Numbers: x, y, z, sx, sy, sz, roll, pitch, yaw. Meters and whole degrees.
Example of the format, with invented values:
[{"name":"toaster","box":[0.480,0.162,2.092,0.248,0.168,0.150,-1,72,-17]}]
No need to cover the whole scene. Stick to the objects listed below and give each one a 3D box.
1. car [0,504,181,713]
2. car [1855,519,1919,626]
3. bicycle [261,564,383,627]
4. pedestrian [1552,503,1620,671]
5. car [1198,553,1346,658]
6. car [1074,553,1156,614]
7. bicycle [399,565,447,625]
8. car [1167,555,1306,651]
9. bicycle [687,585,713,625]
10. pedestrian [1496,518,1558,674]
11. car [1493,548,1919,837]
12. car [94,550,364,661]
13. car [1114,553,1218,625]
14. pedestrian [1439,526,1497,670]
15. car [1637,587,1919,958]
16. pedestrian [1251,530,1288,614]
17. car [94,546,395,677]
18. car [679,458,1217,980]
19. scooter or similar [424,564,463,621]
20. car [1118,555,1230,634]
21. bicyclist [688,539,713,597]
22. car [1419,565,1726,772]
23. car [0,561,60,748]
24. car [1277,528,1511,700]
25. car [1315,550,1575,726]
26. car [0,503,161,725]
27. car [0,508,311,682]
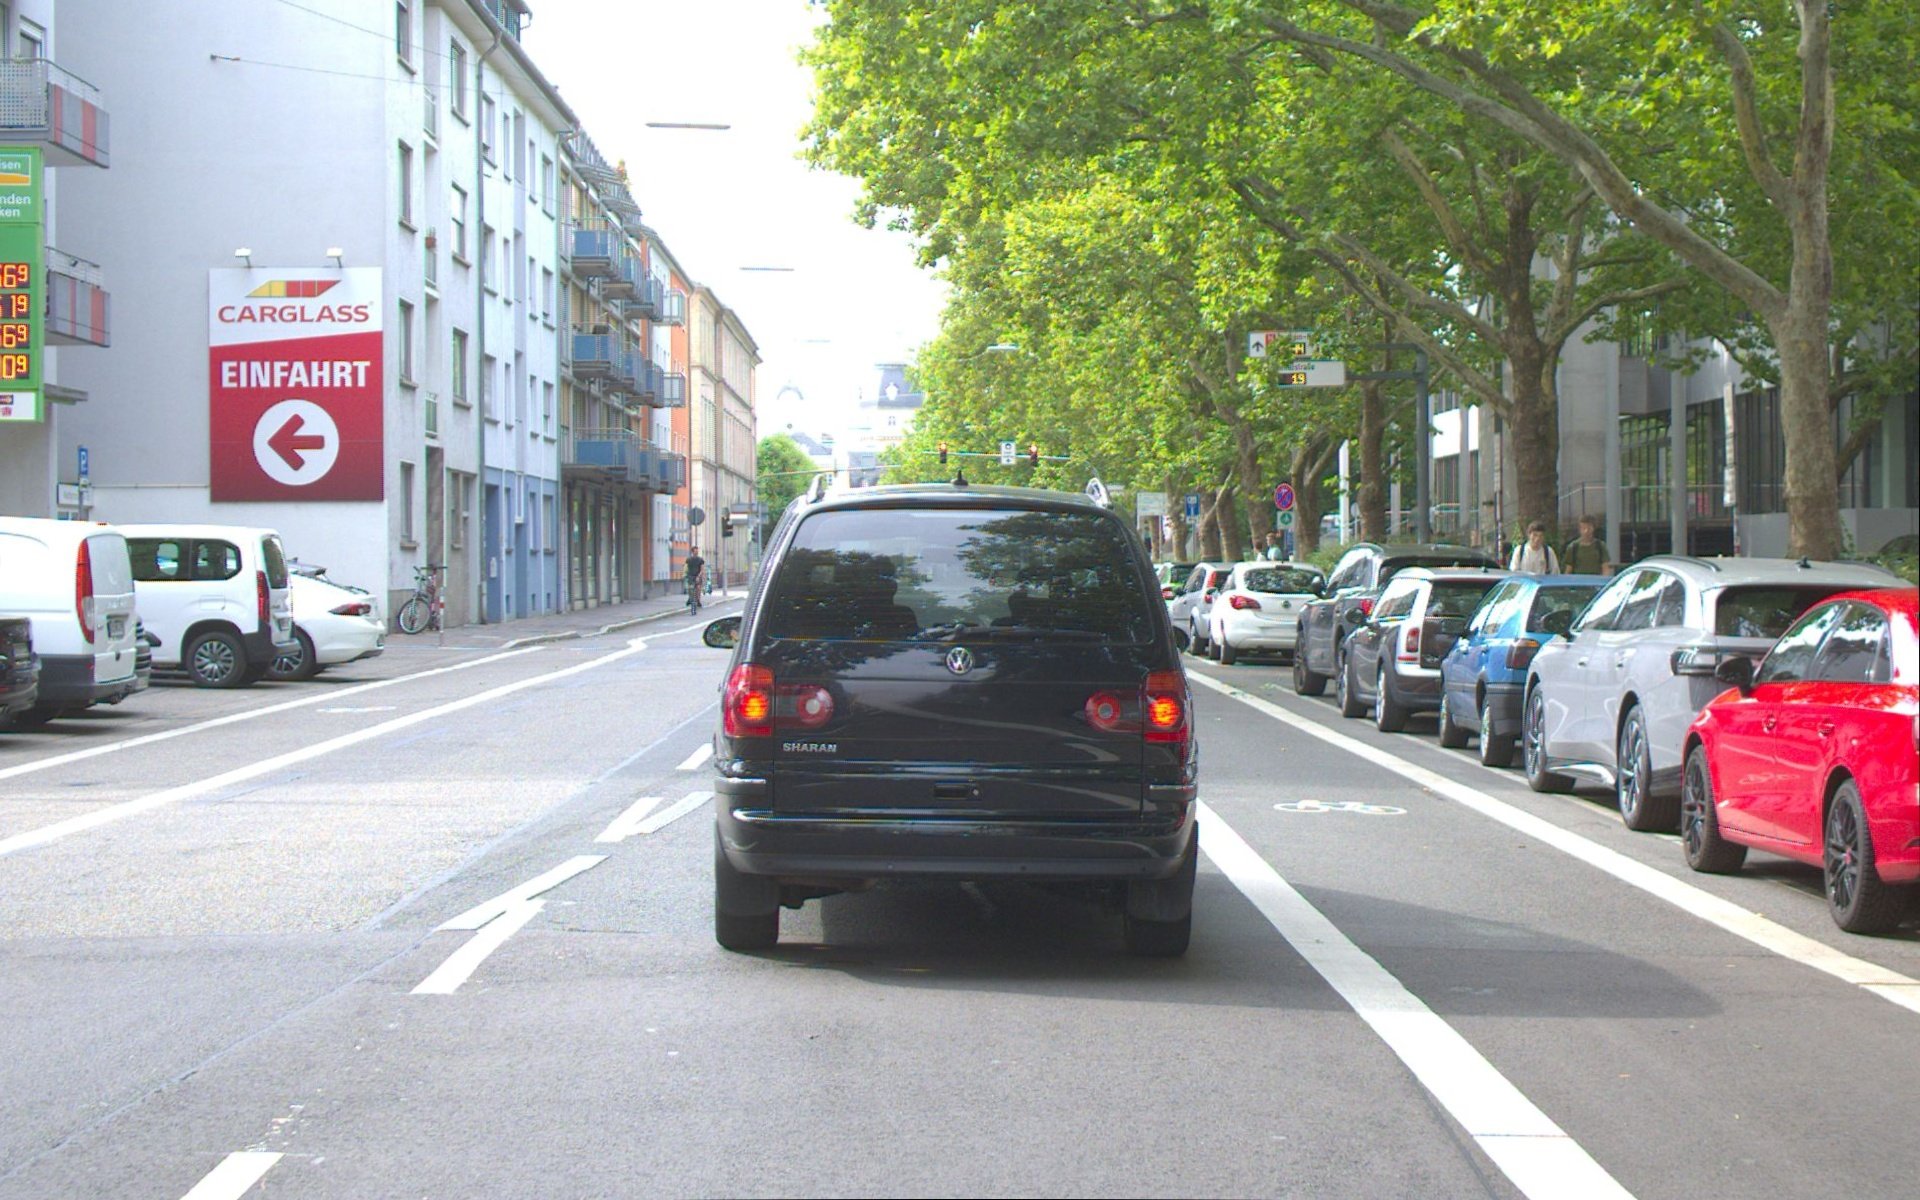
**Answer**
[{"name":"car","box":[-10.171,0.001,32.935,4.916,1.897,2.000,2,1,-1]},{"name":"car","box":[14.167,-0.402,49.512,1.471,1.453,3.917,1,2,0]},{"name":"bicycle","box":[-10.980,-0.076,59.189,2.009,1.030,0.410,1,2,1]},{"name":"pedestrian","box":[7.444,-0.161,40.899,0.643,1.968,0.692,1,2,1]},{"name":"car","box":[4.438,0.047,49.375,1.675,1.389,4.461,2,1,0]},{"name":"car","box":[3.837,-0.432,85.592,1.641,1.482,3.513,0,1,-4]},{"name":"bicycle","box":[-9.508,-0.091,60.930,0.631,1.030,2.015,1,0,-4]},{"name":"car","box":[4.290,0.023,53.782,1.641,1.409,3.416,2,1,-4]},{"name":"bicycle","box":[-7.241,0.152,95.779,0.631,1.030,2.015,1,-2,-3]},{"name":"pedestrian","box":[6.765,-0.053,41.009,0.587,1.832,0.692,1,2,1]},{"name":"car","box":[4.502,0.473,20.603,1.727,1.511,4.872,1,0,-1]},{"name":"car","box":[-9.917,0.070,46.780,3.342,1.397,1.504,1,0,-2]},{"name":"car","box":[4.175,-0.241,70.197,1.641,1.390,3.513,2,1,-4]},{"name":"pedestrian","box":[6.046,-0.029,40.948,0.587,1.696,0.508,1,2,1]},{"name":"car","box":[4.333,0.645,15.255,1.675,1.389,4.461,0,0,-1]},{"name":"pedestrian","box":[6.758,-0.605,75.106,0.767,1.825,0.516,0,0,1]},{"name":"car","box":[-8.695,0.132,41.972,3.342,1.491,1.596,1,0,-2]},{"name":"car","box":[-0.081,0.394,13.548,1.812,1.760,3.738,1,0,-1]},{"name":"scooter or similar","box":[-9.537,-0.151,63.514,0.631,1.030,2.016,0,1,-6]},{"name":"car","box":[4.027,-0.131,65.137,1.641,1.409,3.416,2,1,-4]},{"name":"bicyclist","box":[-7.253,-0.891,96.008,0.653,1.606,0.656,1,-2,-3]},{"name":"car","box":[4.563,0.458,26.105,1.622,1.381,4.000,2,1,1]},{"name":"car","box":[-9.366,0.370,27.819,3.682,1.440,1.753,2,1,-1]},{"name":"car","box":[4.489,0.114,36.166,1.668,1.635,4.504,2,1,-2]},{"name":"car","box":[4.274,0.301,30.872,1.630,1.465,4.318,0,0,-1]},{"name":"car","box":[-9.600,0.054,30.423,4.526,1.872,2.047,2,1,1]},{"name":"car","box":[-9.813,-0.083,39.634,4.307,1.863,1.824,2,0,-1]}]
